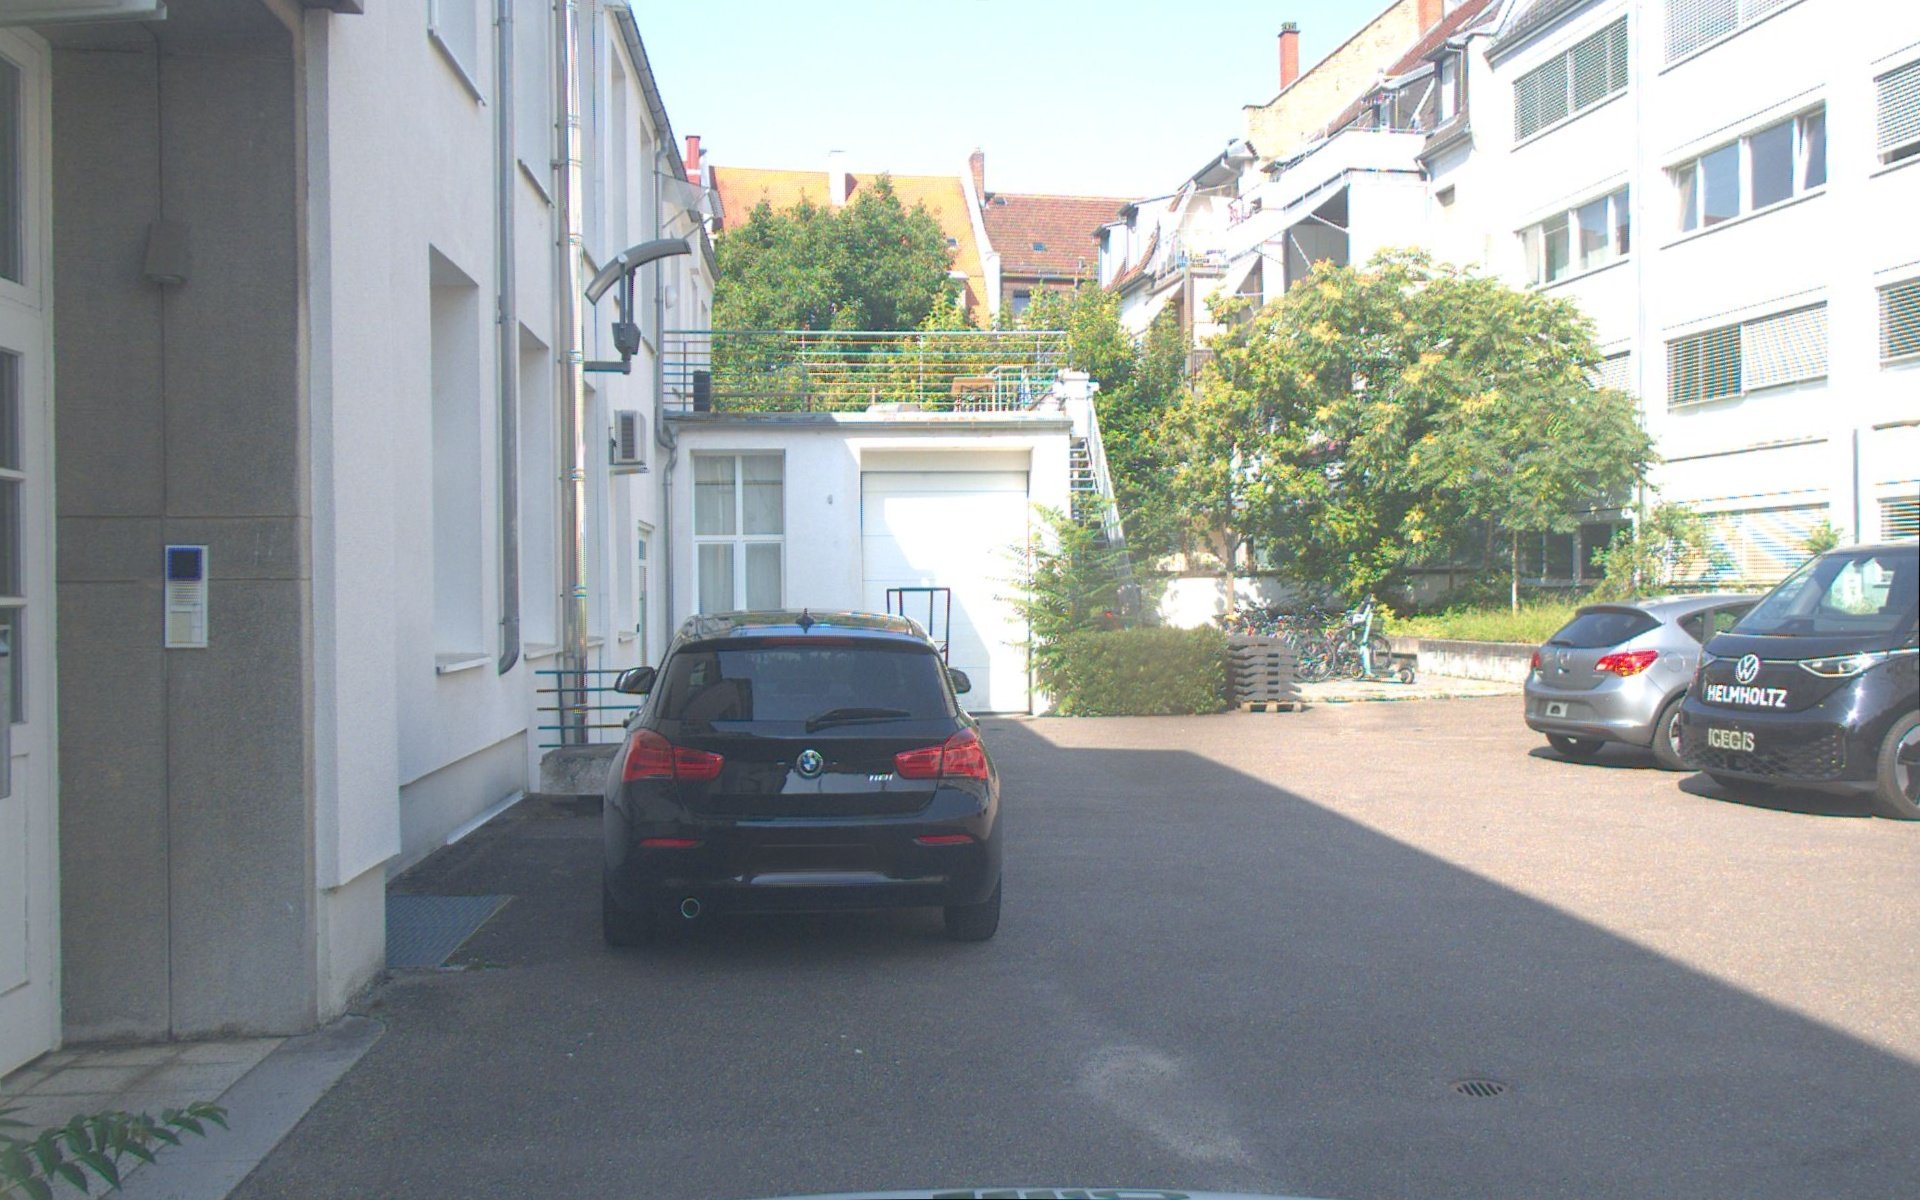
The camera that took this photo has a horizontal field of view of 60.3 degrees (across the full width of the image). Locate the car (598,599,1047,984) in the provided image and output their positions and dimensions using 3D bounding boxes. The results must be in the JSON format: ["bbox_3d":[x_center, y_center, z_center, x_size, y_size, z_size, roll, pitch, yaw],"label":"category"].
[{"bbox_3d":[-0.783,0.736,8.546,1.759,1.453,4.129,0,0,-7],"label":"car"}]

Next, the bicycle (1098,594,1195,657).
[{"bbox_3d":[3.739,0.500,33.046,1.963,1.163,0.486,-2,1,-26],"label":"bicycle"}]

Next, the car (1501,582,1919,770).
[{"bbox_3d":[7.100,0.621,15.174,3.837,1.491,1.654,-1,1,-19],"label":"car"}]

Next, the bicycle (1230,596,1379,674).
[{"bbox_3d":[5.661,0.570,27.204,2.364,1.268,0.526,0,0,-5],"label":"bicycle"}]

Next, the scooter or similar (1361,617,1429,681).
[{"bbox_3d":[6.685,0.742,25.420,0.357,0.940,0.984,0,0,-42],"label":"scooter or similar"}]

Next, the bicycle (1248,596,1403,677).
[{"bbox_3d":[5.824,0.571,26.388,2.364,1.268,0.526,0,0,-5],"label":"bicycle"}]

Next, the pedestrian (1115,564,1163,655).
[{"bbox_3d":[3.600,0.189,33.250,0.602,1.802,0.853,0,0,-27],"label":"pedestrian"}]

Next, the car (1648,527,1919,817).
[{"bbox_3d":[7.571,0.420,12.286,4.262,1.891,1.907,-1,1,-15],"label":"car"}]

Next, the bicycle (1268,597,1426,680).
[{"bbox_3d":[6.024,0.590,25.776,2.364,1.268,0.526,0,0,-5],"label":"bicycle"}]

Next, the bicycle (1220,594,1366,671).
[{"bbox_3d":[5.595,0.542,27.849,2.364,1.268,0.526,0,0,-5],"label":"bicycle"}]

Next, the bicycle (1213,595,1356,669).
[{"bbox_3d":[5.584,0.544,28.501,2.364,1.268,0.526,0,0,-5],"label":"bicycle"}]
